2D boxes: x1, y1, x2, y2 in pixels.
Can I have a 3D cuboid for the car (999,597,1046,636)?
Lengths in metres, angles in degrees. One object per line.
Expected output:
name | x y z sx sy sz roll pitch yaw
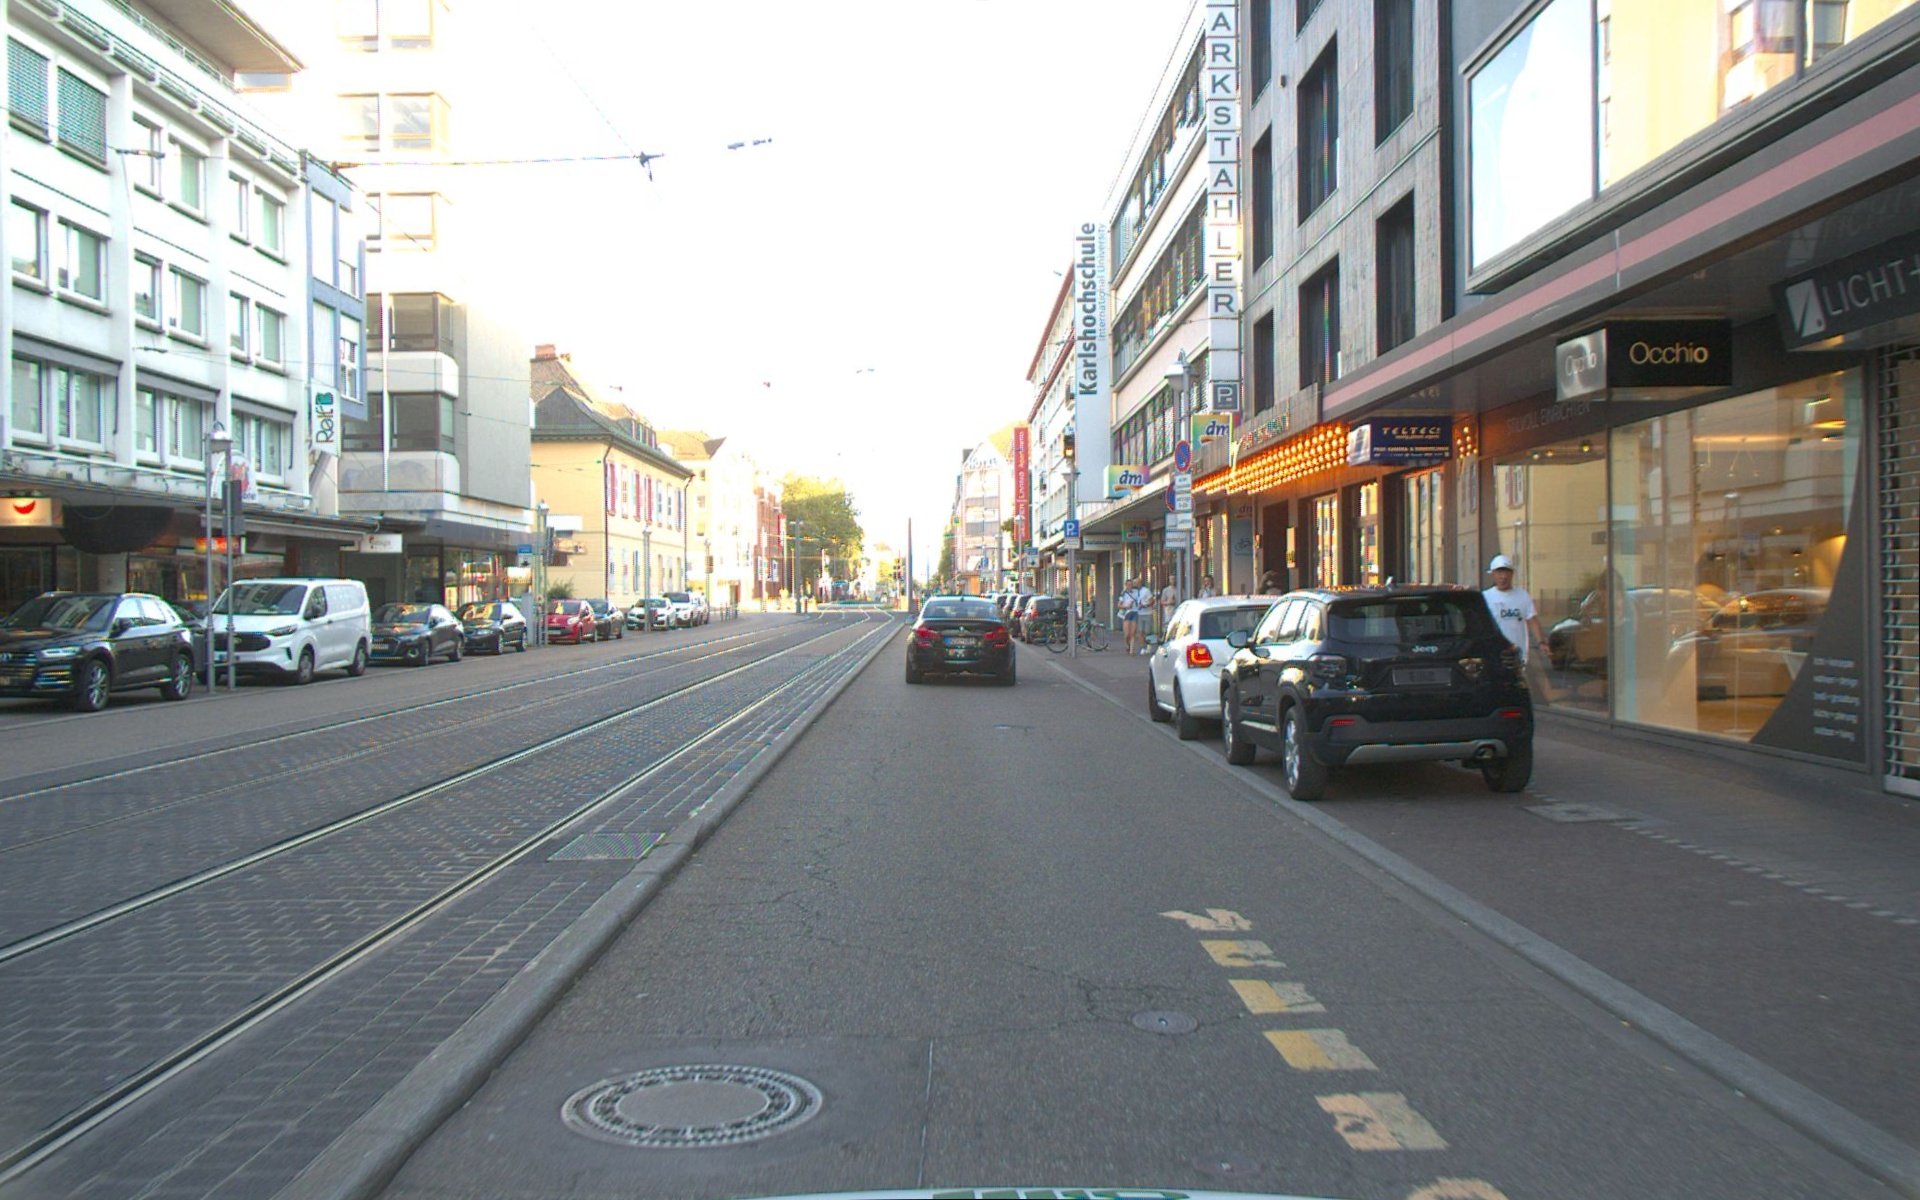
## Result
car | 2.512 0.671 67.529 1.738 1.576 3.502 0 0 -1

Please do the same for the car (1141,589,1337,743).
car | 2.998 0.652 18.447 1.527 1.467 3.709 -3 0 0

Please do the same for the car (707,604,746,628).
car | -14.708 0.975 104.542 1.889 1.460 4.245 1 0 -1

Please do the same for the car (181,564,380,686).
car | -13.206 0.437 32.487 1.953 2.194 4.909 -1 0 -1

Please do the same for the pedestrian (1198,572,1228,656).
pedestrian | 5.584 0.303 36.486 0.497 1.824 0.760 -1 0 -1

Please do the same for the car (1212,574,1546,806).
car | 3.219 0.615 13.461 1.621 1.564 3.885 -2 0 -1

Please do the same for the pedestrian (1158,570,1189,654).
pedestrian | 4.751 0.261 36.774 0.542 1.823 0.759 -1 0 -1

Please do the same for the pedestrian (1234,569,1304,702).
pedestrian | 3.987 0.449 21.386 0.549 1.676 0.755 -1 0 -22

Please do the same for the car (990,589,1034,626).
car | 2.274 0.330 72.858 1.738 1.576 3.502 0 0 -1

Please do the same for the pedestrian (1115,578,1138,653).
pedestrian | 3.896 0.358 38.702 0.465 1.729 0.752 -1 0 3

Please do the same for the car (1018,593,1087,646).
car | 2.825 0.595 51.428 1.864 1.576 3.999 0 0 -1

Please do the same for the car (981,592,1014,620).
car | 2.118 0.350 94.386 1.738 1.576 3.502 0 0 -1

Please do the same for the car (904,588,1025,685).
car | 0.095 0.574 29.012 1.913 1.524 4.465 1 0 1

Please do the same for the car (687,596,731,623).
car | -14.451 0.526 95.354 1.889 1.460 4.245 1 0 -1

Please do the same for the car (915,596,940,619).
car | -2.253 0.527 115.759 1.738 1.576 3.502 0 0 -1

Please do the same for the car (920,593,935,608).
car | -4.279 0.094 218.404 1.953 1.870 3.998 0 -3 -1

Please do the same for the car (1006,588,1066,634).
car | 2.648 0.402 58.302 1.864 1.576 3.779 0 -1 -1

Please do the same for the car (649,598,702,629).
car | -13.935 0.622 81.246 1.889 1.460 4.245 1 0 -1

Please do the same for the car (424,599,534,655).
car | -13.458 0.726 46.563 1.889 1.460 4.245 1 0 -1

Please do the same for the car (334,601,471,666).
car | -13.337 0.768 39.802 1.889 1.460 4.245 1 0 -1

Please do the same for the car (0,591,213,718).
car | -13.059 0.725 24.672 1.822 1.707 4.463 1 0 -1

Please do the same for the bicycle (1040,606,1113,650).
bicycle | 2.983 0.721 42.314 1.823 1.099 0.468 0 -1 0

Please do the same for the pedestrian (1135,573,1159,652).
pedestrian | 4.371 0.285 38.679 0.478 1.821 0.760 -1 0 3

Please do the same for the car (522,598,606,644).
car | -13.546 0.691 56.776 1.889 1.460 4.245 1 0 -1

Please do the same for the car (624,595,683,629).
car | -13.888 0.531 75.081 1.889 1.460 4.245 -1 0 -1

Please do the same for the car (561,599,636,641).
car | -13.411 0.717 61.618 1.889 1.460 4.245 1 0 -1

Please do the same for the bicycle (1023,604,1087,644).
bicycle | 2.759 0.705 48.115 1.823 1.139 0.468 0 -1 0

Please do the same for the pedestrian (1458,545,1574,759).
pedestrian | 4.808 0.436 14.344 0.674 1.771 0.821 -2 0 0
